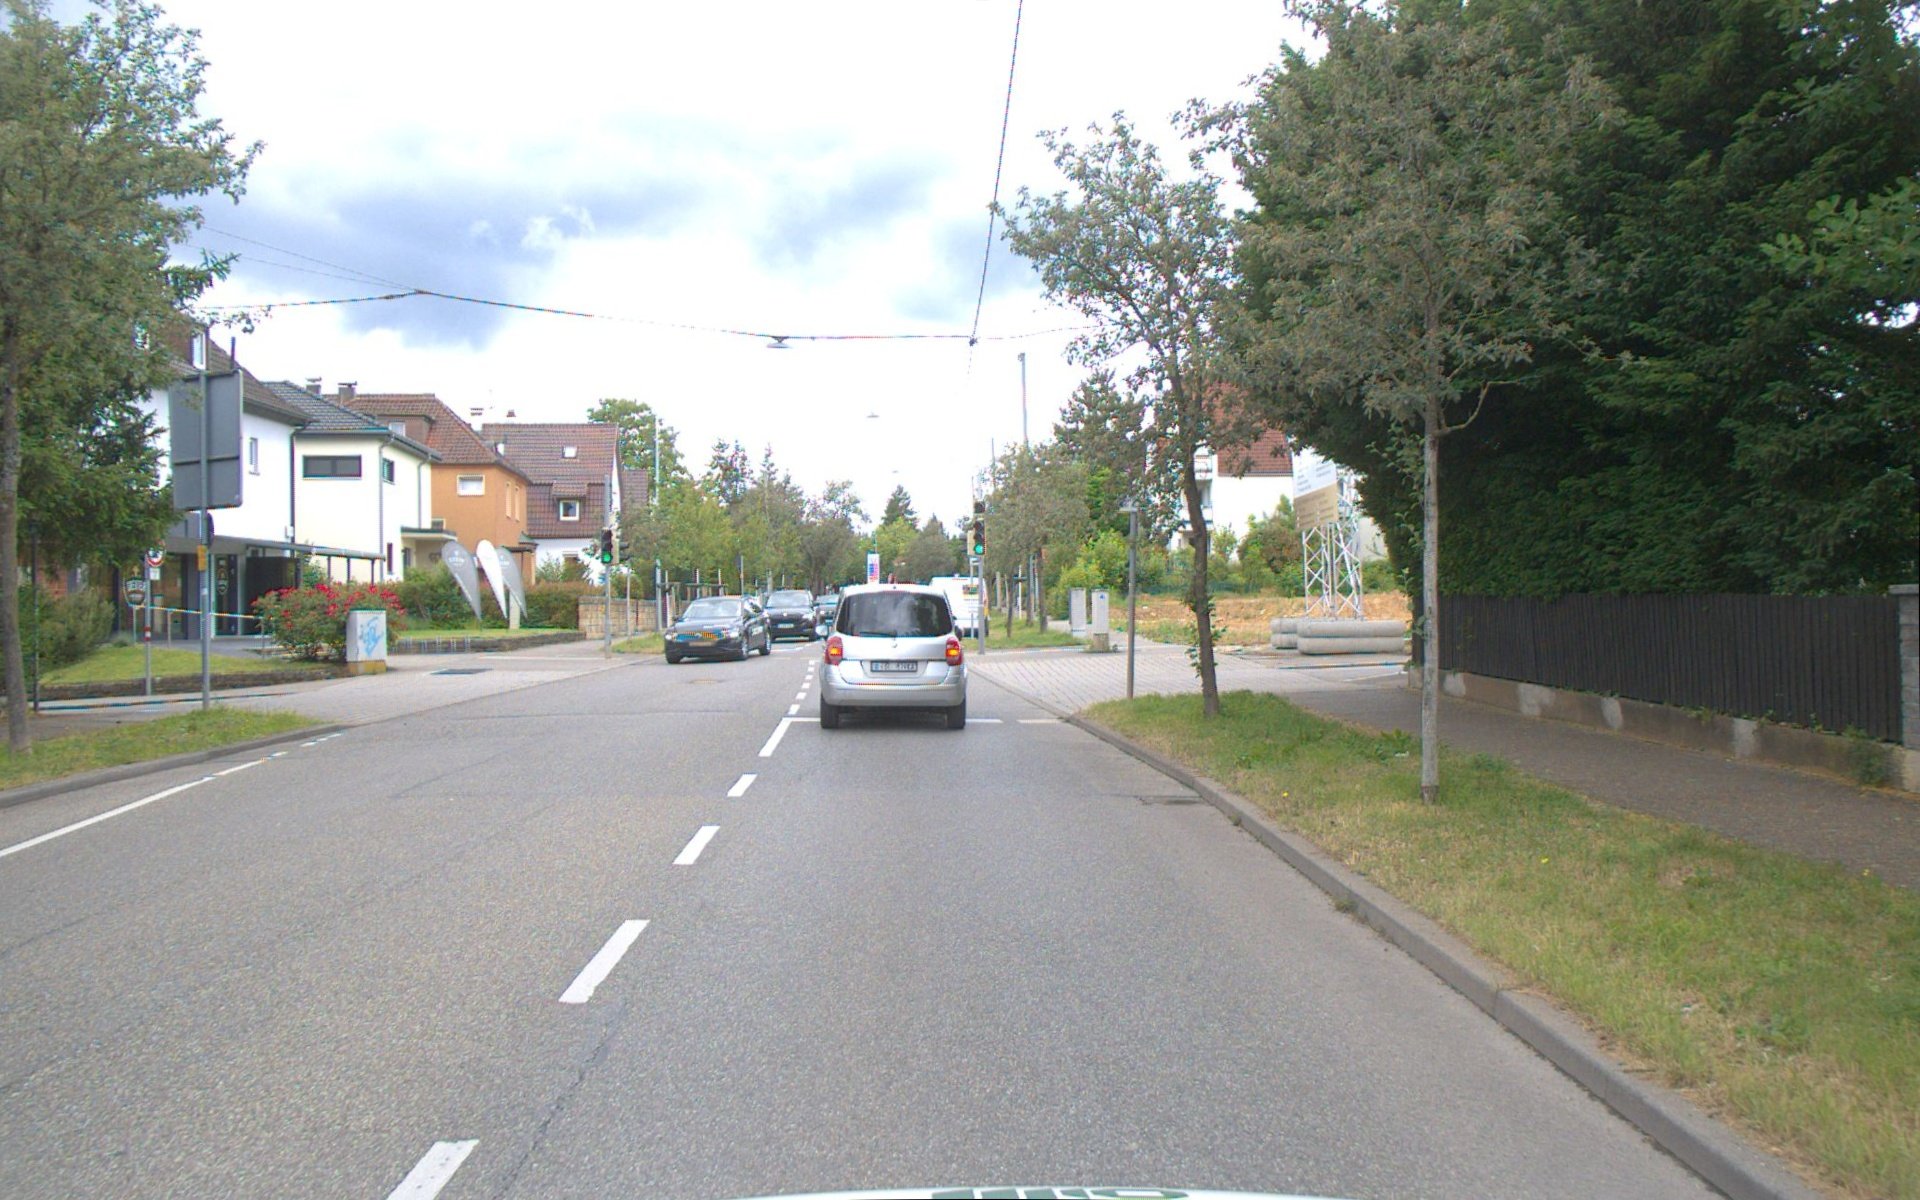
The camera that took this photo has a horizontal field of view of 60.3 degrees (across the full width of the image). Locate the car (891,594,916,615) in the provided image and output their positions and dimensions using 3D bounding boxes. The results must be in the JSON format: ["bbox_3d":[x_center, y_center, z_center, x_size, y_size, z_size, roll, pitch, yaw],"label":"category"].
[{"bbox_3d":[-4.788,0.368,140.403,1.800,1.743,3.995,-2,0,-5],"label":"car"}]

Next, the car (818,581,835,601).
[{"bbox_3d":[-18.360,-1.206,227.588,2.032,2.627,5.298,-3,0,-2],"label":"car"}]

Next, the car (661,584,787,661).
[{"bbox_3d":[-5.441,0.476,38.721,1.952,1.649,4.650,-1,0,4],"label":"car"}]

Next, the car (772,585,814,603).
[{"bbox_3d":[-16.826,-0.607,166.551,4.004,1.735,1.747,-1,0,-2],"label":"car"}]

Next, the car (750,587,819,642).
[{"bbox_3d":[-5.532,0.435,52.622,1.857,1.652,3.999,-1,0,-2],"label":"car"}]

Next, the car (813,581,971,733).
[{"bbox_3d":[-0.760,0.605,19.342,1.645,1.587,3.511,1,0,-1],"label":"car"}]

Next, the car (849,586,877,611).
[{"bbox_3d":[-6.859,-0.115,117.211,1.777,1.722,4.464,-2,0,-2],"label":"car"}]

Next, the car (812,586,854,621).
[{"bbox_3d":[-5.974,0.149,78.120,1.583,1.497,4.000,-3,1,0],"label":"car"}]

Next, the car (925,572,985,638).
[{"bbox_3d":[-0.197,0.139,52.690,1.739,1.977,4.787,0,0,-2],"label":"car"}]

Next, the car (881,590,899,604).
[{"bbox_3d":[-8.364,-0.357,197.635,1.664,1.532,3.964,-1,0,-9],"label":"car"}]
